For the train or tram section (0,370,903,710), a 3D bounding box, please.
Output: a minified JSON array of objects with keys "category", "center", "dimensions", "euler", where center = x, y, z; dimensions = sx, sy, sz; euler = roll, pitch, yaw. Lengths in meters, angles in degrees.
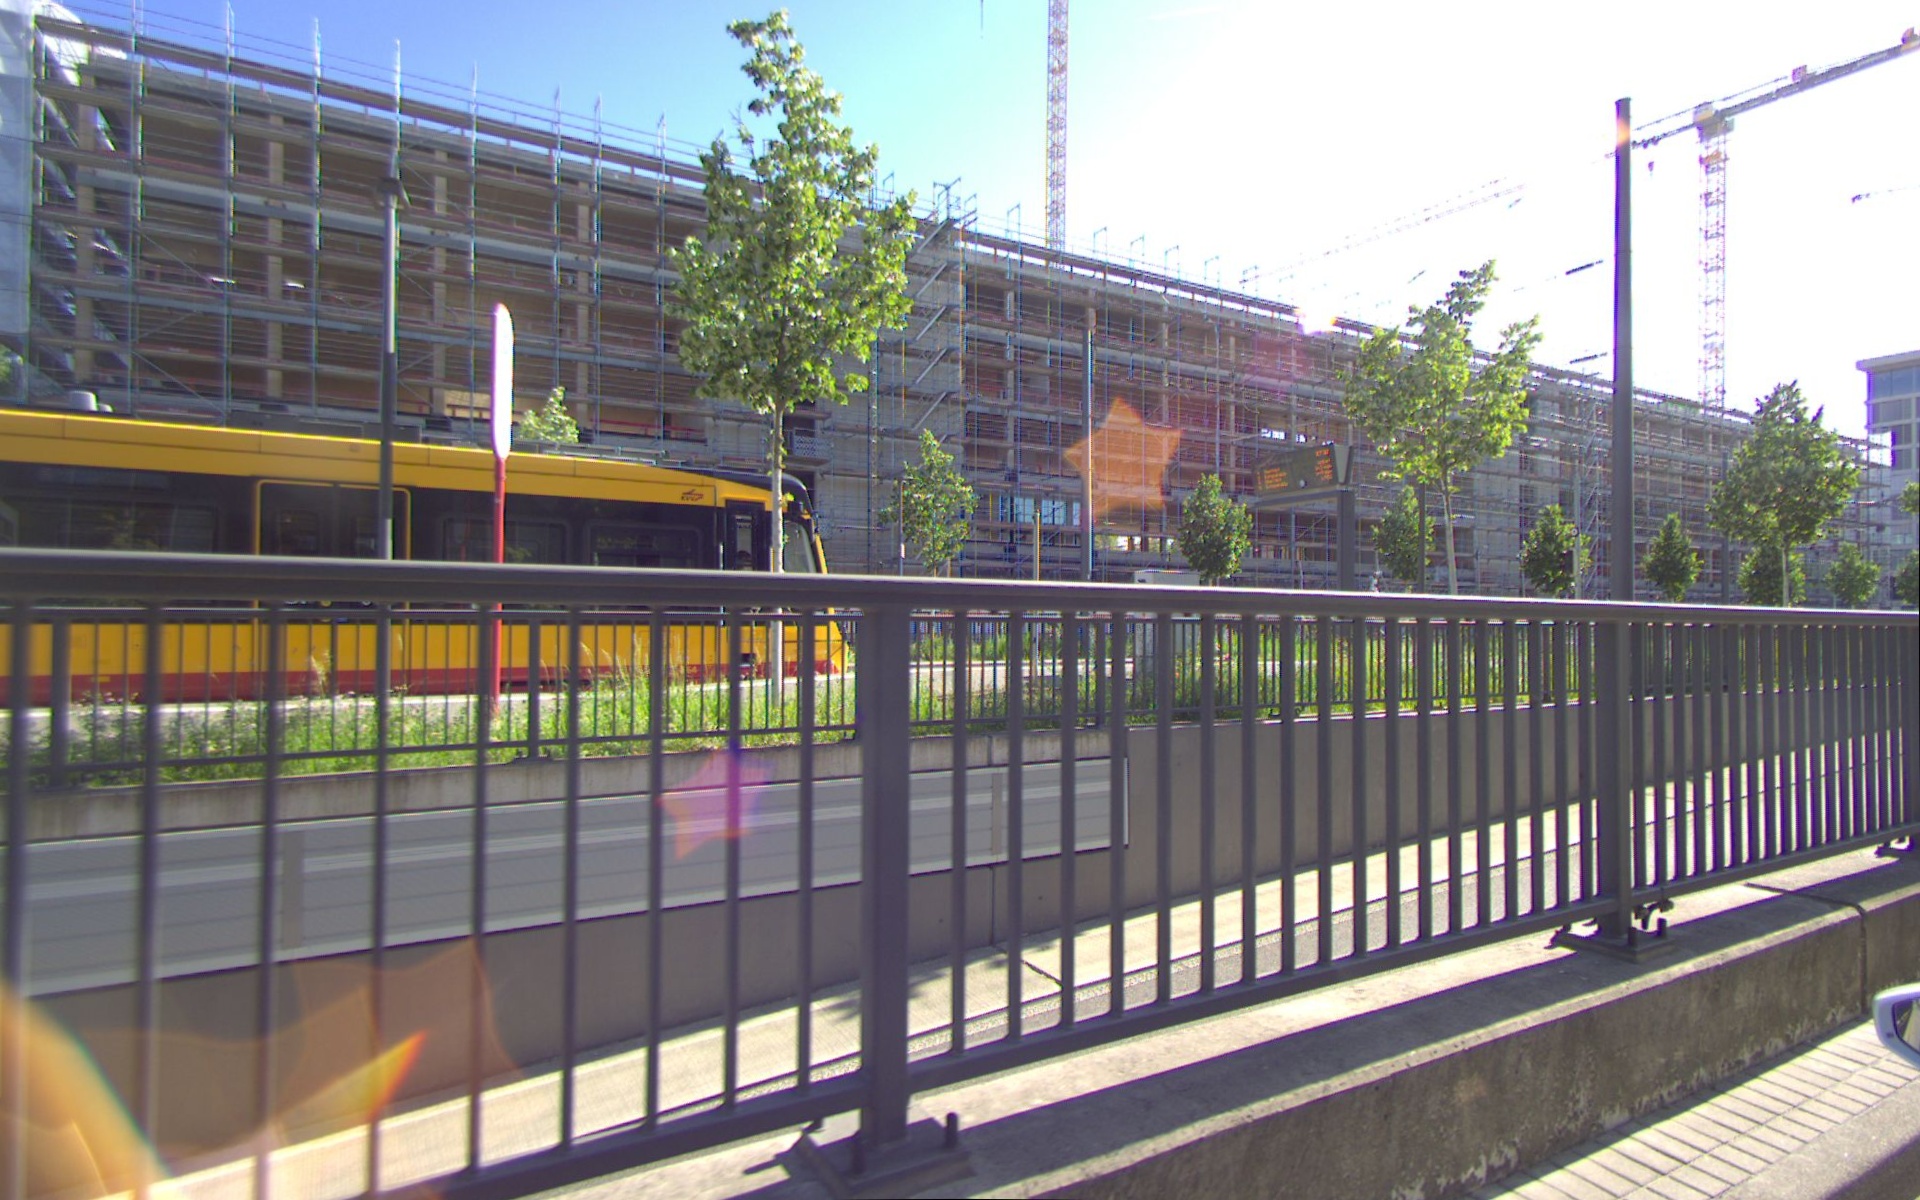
[{"category":"train or tram section","center":[-11.022,-0.615,10.510],"dimensions":[21.879,3.323,2.857],"euler":[1,1,-30]}]
